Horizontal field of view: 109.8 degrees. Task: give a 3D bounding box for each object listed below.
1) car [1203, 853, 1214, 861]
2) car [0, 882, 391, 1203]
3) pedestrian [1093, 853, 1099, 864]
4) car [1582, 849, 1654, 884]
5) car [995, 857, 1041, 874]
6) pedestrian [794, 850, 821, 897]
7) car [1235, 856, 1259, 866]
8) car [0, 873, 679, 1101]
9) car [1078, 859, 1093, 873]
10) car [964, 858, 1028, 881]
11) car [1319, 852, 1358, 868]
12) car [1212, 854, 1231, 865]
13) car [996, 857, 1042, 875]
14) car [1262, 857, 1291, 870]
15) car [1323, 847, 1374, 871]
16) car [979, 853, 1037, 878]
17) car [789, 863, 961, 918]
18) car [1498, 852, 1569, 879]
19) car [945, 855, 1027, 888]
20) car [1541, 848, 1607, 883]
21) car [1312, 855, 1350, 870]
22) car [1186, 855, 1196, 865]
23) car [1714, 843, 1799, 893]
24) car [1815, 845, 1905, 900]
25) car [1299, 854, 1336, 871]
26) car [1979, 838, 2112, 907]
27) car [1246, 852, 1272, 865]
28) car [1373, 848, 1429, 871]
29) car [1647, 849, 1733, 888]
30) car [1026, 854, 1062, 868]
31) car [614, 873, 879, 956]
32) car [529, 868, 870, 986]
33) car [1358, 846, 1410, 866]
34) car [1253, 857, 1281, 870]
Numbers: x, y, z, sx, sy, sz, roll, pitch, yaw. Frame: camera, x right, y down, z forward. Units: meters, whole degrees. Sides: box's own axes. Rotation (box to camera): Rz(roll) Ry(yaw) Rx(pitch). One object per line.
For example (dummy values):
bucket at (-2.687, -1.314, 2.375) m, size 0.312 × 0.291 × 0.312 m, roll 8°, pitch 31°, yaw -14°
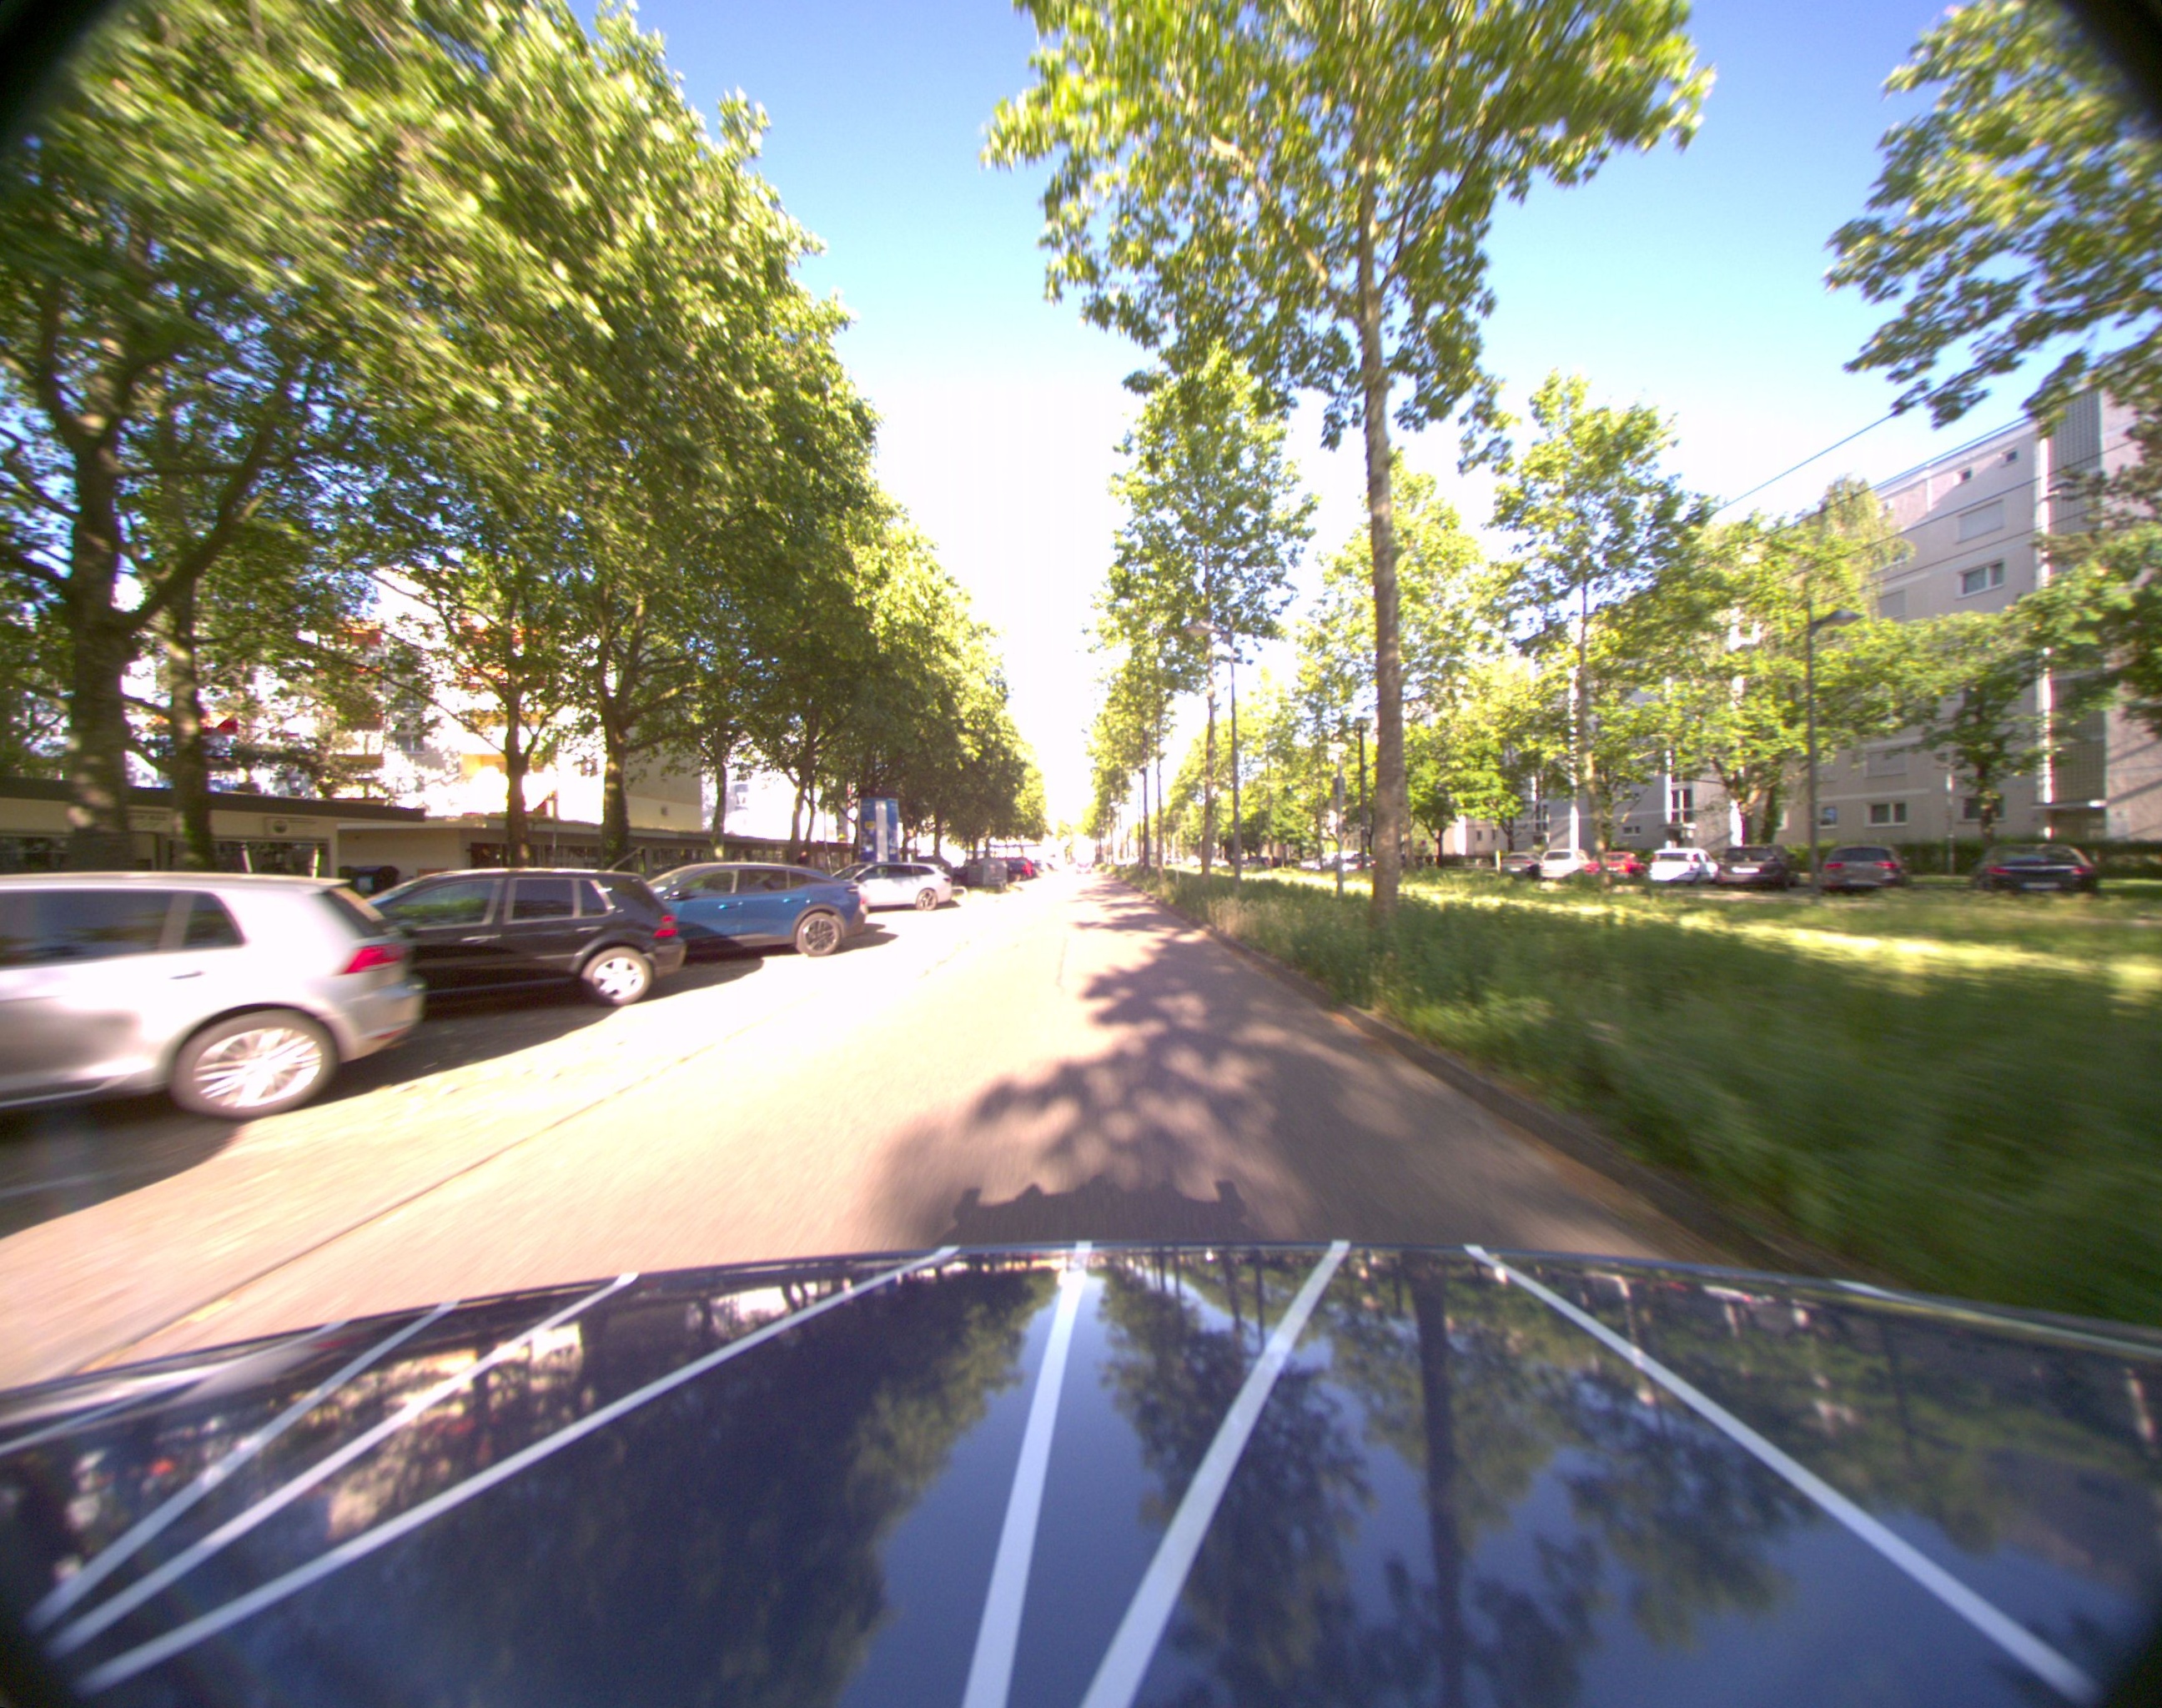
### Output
car at (25.096, 0.555, 149.799) m, size 1.718 × 1.536 × 3.934 m, roll -1°, pitch 0°, yaw 3°
car at (-6.530, 0.965, 3.820) m, size 4.471 × 1.442 × 1.914 m, roll 0°, pitch 1°, yaw -44°
pedestrian at (2.382, 0.757, 124.623) m, size 0.714 × 1.696 × 0.652 m, roll 0°, pitch 1°, yaw -34°
car at (24.124, 0.521, 34.098) m, size 3.929 × 1.479 × 1.790 m, roll -1°, pitch 0°, yaw -42°
car at (-5.537, 0.983, 66.903) m, size 3.795 × 1.461 × 1.646 m, roll 0°, pitch 0°, yaw -43°
pedestrian at (-11.135, 0.781, 30.957) m, size 0.875 × 1.902 × 0.871 m, roll -1°, pitch 0°, yaw -8°
car at (24.918, 1.077, 114.098) m, size 1.835 × 1.426 × 3.833 m, roll -1°, pitch 0°, yaw 41°
car at (-6.586, 0.972, 7.323) m, size 4.471 × 1.442 × 1.914 m, roll 0°, pitch 1°, yaw -42°
car at (0.538, 1.337, 87.011) m, size 1.619 × 1.536 × 4.278 m, roll -1°, pitch 0°, yaw 1°
car at (-5.825, 1.049, 52.370) m, size 4.093 × 1.472 × 1.647 m, roll 0°, pitch 0°, yaw -35°
car at (24.077, 0.512, 71.063) m, size 4.093 × 1.424 × 1.575 m, roll -1°, pitch 1°, yaw -41°
car at (19.362, 0.790, 104.869) m, size 1.929 × 1.497 × 4.085 m, roll 1°, pitch 0°, yaw -1°
car at (-5.752, 1.096, 70.760) m, size 4.036 × 1.695 × 1.756 m, roll 0°, pitch 0°, yaw -40°
car at (24.623, 1.182, 95.832) m, size 1.647 × 1.466 × 4.094 m, roll -7°, pitch -4°, yaw 44°
car at (23.882, 0.410, 67.788) m, size 4.808 × 1.994 × 1.888 m, roll -1°, pitch -1°, yaw -38°
car at (-5.442, 0.867, 56.632) m, size 4.093 × 1.800 × 1.646 m, roll 0°, pitch 0°, yaw -39°
car at (-5.934, 0.991, 22.197) m, size 4.503 × 1.435 × 1.851 m, roll 0°, pitch 0°, yaw -43°
car at (24.490, 0.594, 41.096) m, size 4.139 × 1.330 × 1.791 m, roll -1°, pitch 0°, yaw -35°
car at (-5.339, 0.962, 42.926) m, size 4.329 × 1.707 × 1.631 m, roll -1°, pitch 0°, yaw -38°
car at (24.649, 0.540, 37.959) m, size 3.987 × 1.665 × 1.782 m, roll -1°, pitch 0°, yaw -42°
car at (24.506, 0.818, 74.468) m, size 4.093 × 1.474 × 1.647 m, roll -1°, pitch 0°, yaw -41°
car at (23.615, 1.300, 163.061) m, size 1.718 × 2.249 × 3.933 m, roll -1°, pitch 0°, yaw 0°
car at (24.438, 0.457, 27.446) m, size 4.496 × 1.665 × 1.790 m, roll -1°, pitch 0°, yaw -42°
car at (24.458, 0.511, 23.799) m, size 4.496 × 1.559 × 1.790 m, roll -1°, pitch 0°, yaw -42°
car at (24.222, 0.869, 77.730) m, size 4.093 × 1.636 × 1.647 m, roll -1°, pitch -2°, yaw -41°
car at (24.187, 0.406, 19.200) m, size 4.496 × 1.559 × 1.790 m, roll -1°, pitch 0°, yaw -42°
car at (24.155, 0.583, 102.886) m, size 1.646 × 1.636 × 4.093 m, roll 1°, pitch 1°, yaw 42°
car at (24.154, 0.385, 57.350) m, size 4.092 × 1.598 × 1.989 m, roll 0°, pitch 2°, yaw -35°
car at (25.269, 0.566, 31.466) m, size 4.495 × 1.473 × 1.613 m, roll -1°, pitch 0°, yaw -36°
car at (-4.959, 0.947, 103.184) m, size 4.680 × 1.842 × 1.825 m, roll 0°, pitch 0°, yaw -39°
car at (-6.287, 1.050, 14.615) m, size 4.339 × 1.290 × 1.687 m, roll 0°, pitch 0°, yaw -43°
car at (-5.687, 0.956, 11.676) m, size 4.339 × 1.416 × 1.851 m, roll 0°, pitch 0°, yaw -43°
car at (24.345, 0.162, 60.980) m, size 4.092 × 1.521 × 1.814 m, roll -1°, pitch -2°, yaw -33°
car at (24.344, 1.208, 99.312) m, size 1.647 × 1.635 × 4.094 m, roll -4°, pitch -3°, yaw 45°
